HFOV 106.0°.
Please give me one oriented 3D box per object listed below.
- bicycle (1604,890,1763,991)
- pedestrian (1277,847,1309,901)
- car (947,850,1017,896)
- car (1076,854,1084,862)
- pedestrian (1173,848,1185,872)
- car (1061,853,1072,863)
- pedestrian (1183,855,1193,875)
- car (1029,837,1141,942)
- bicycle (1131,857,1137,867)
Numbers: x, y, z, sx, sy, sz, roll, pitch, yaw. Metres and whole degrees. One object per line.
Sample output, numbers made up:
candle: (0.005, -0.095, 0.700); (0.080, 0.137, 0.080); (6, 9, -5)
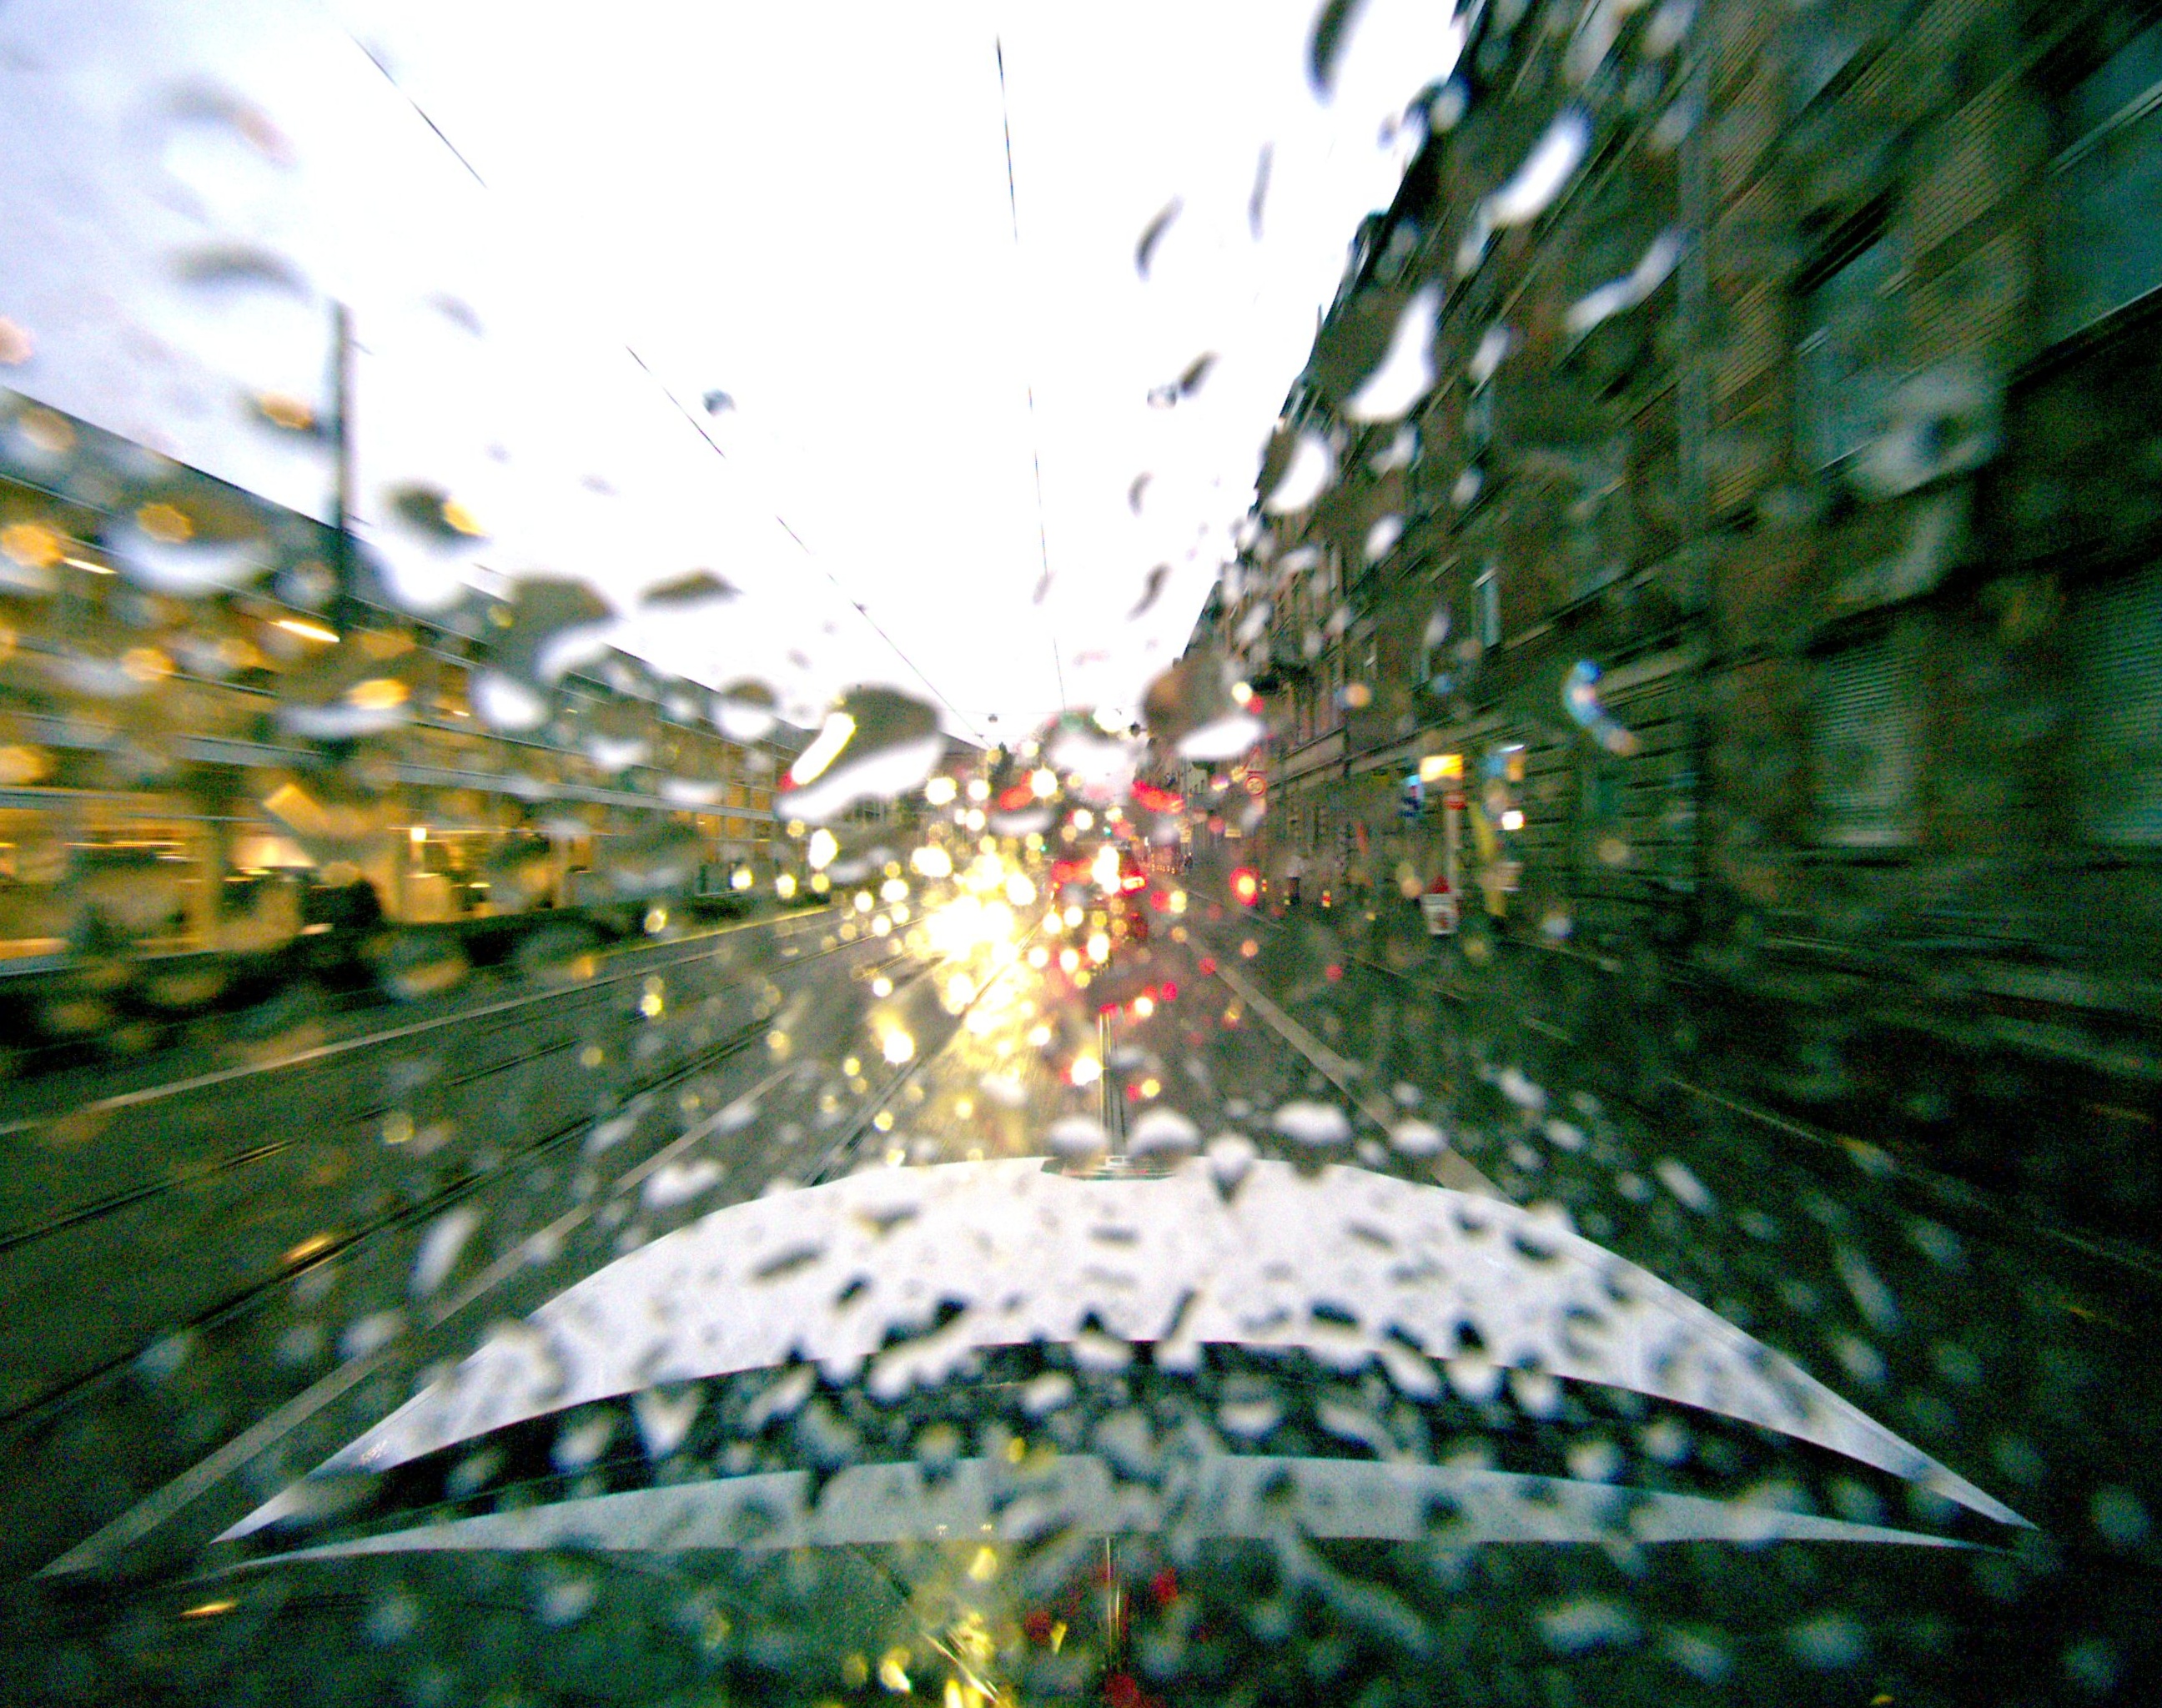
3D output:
bicycle: (6.536, 0.899, 8.963); (0.396, 0.911, 1.867); (-1, 0, 1)
pedestrian: (6.451, 0.596, 24.853); (0.783, 1.597, 0.742); (-1, 0, 2)
car: (-3.603, 0.664, 30.334); (1.834, 1.578, 4.445); (-1, 0, 3)
car: (-0.269, 0.837, 168.675); (1.524, 1.481, 3.562); (-1, 0, 2)
pedestrian: (7.436, 0.473, 61.871); (0.601, 1.818, 0.769); (1, -1, -26)
car: (-2.524, 0.674, 142.187); (1.869, 1.710, 4.760); (-1, 0, 1)
pedestrian: (7.351, 0.742, 56.181); (0.598, 1.377, 0.728); (0, -1, 1)
car: (0.215, 0.637, 16.452); (1.985, 1.842, 4.004); (0, 0, 4)
bicycle: (6.216, 0.927, 95.272); (0.681, 1.156, 2.189); (0, -1, 2)
